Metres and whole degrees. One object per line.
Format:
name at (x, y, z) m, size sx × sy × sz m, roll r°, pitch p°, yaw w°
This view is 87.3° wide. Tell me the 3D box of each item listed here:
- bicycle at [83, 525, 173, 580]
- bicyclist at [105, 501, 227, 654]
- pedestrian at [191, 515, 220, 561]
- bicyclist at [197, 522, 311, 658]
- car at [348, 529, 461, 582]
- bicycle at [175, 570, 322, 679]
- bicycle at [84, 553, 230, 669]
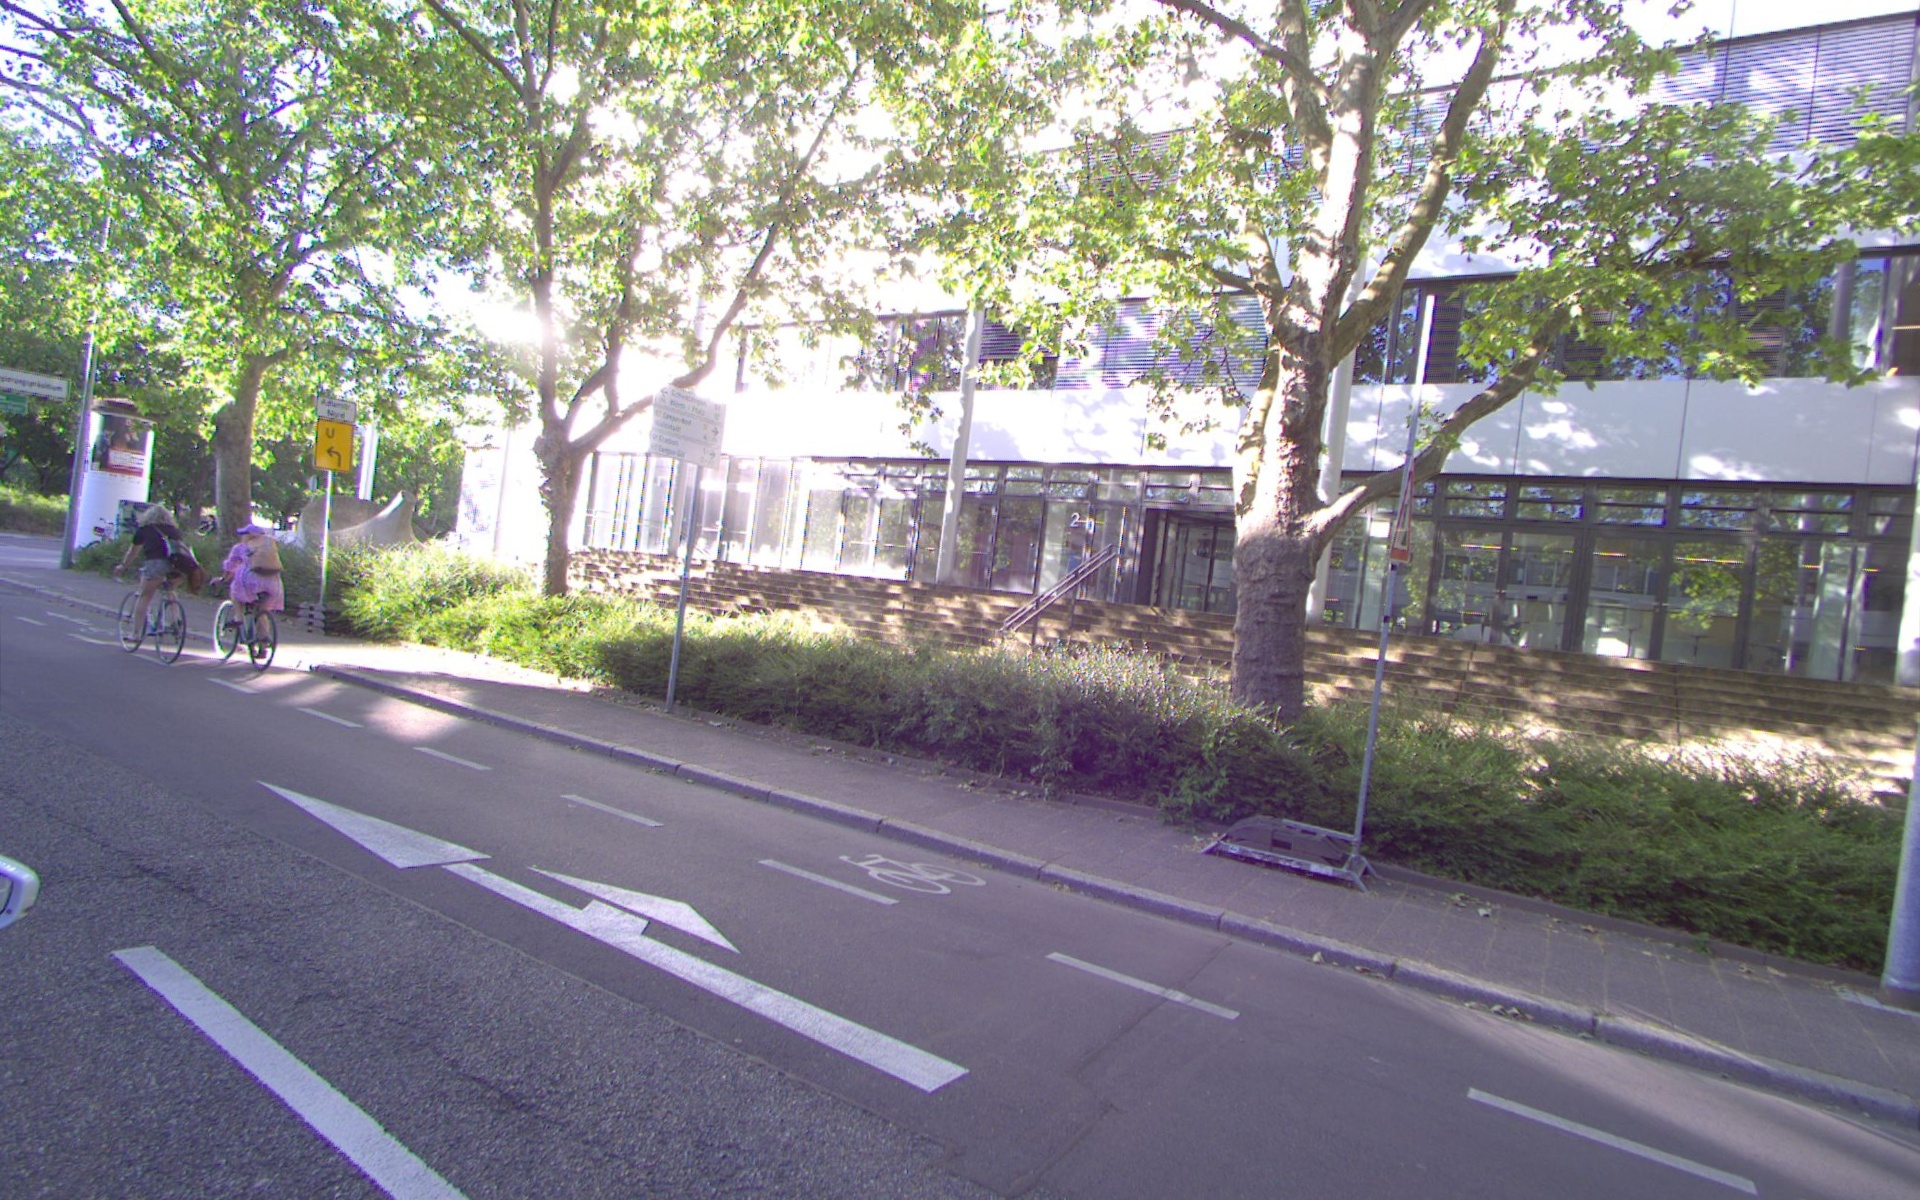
bicycle at (-19.085, -1.088, 23.098) m, size 0.529 × 1.049 × 1.418 m, roll 7°, pitch -1°, yaw 28°
bicyclist at (-8.670, -0.246, 10.984) m, size 0.875 × 1.533 × 0.611 m, roll 7°, pitch -2°, yaw 32°
pedestrian at (-31.450, -2.595, 41.916) m, size 0.620 × 1.805 × 0.620 m, roll 7°, pitch 0°, yaw 34°
bicyclist at (-8.115, -0.112, 11.563) m, size 0.915 × 1.417 × 0.602 m, roll 7°, pitch -2°, yaw 32°
car at (-25.864, -2.049, 46.938) m, size 1.969 × 1.805 × 3.998 m, roll 7°, pitch -1°, yaw 37°
bicycle at (-8.207, 0.268, 11.585) m, size 1.850 × 0.996 × 0.602 m, roll 7°, pitch -2°, yaw 32°
bicycle at (-8.828, 0.108, 11.045) m, size 1.702 × 1.038 × 0.611 m, roll 7°, pitch -2°, yaw 32°
